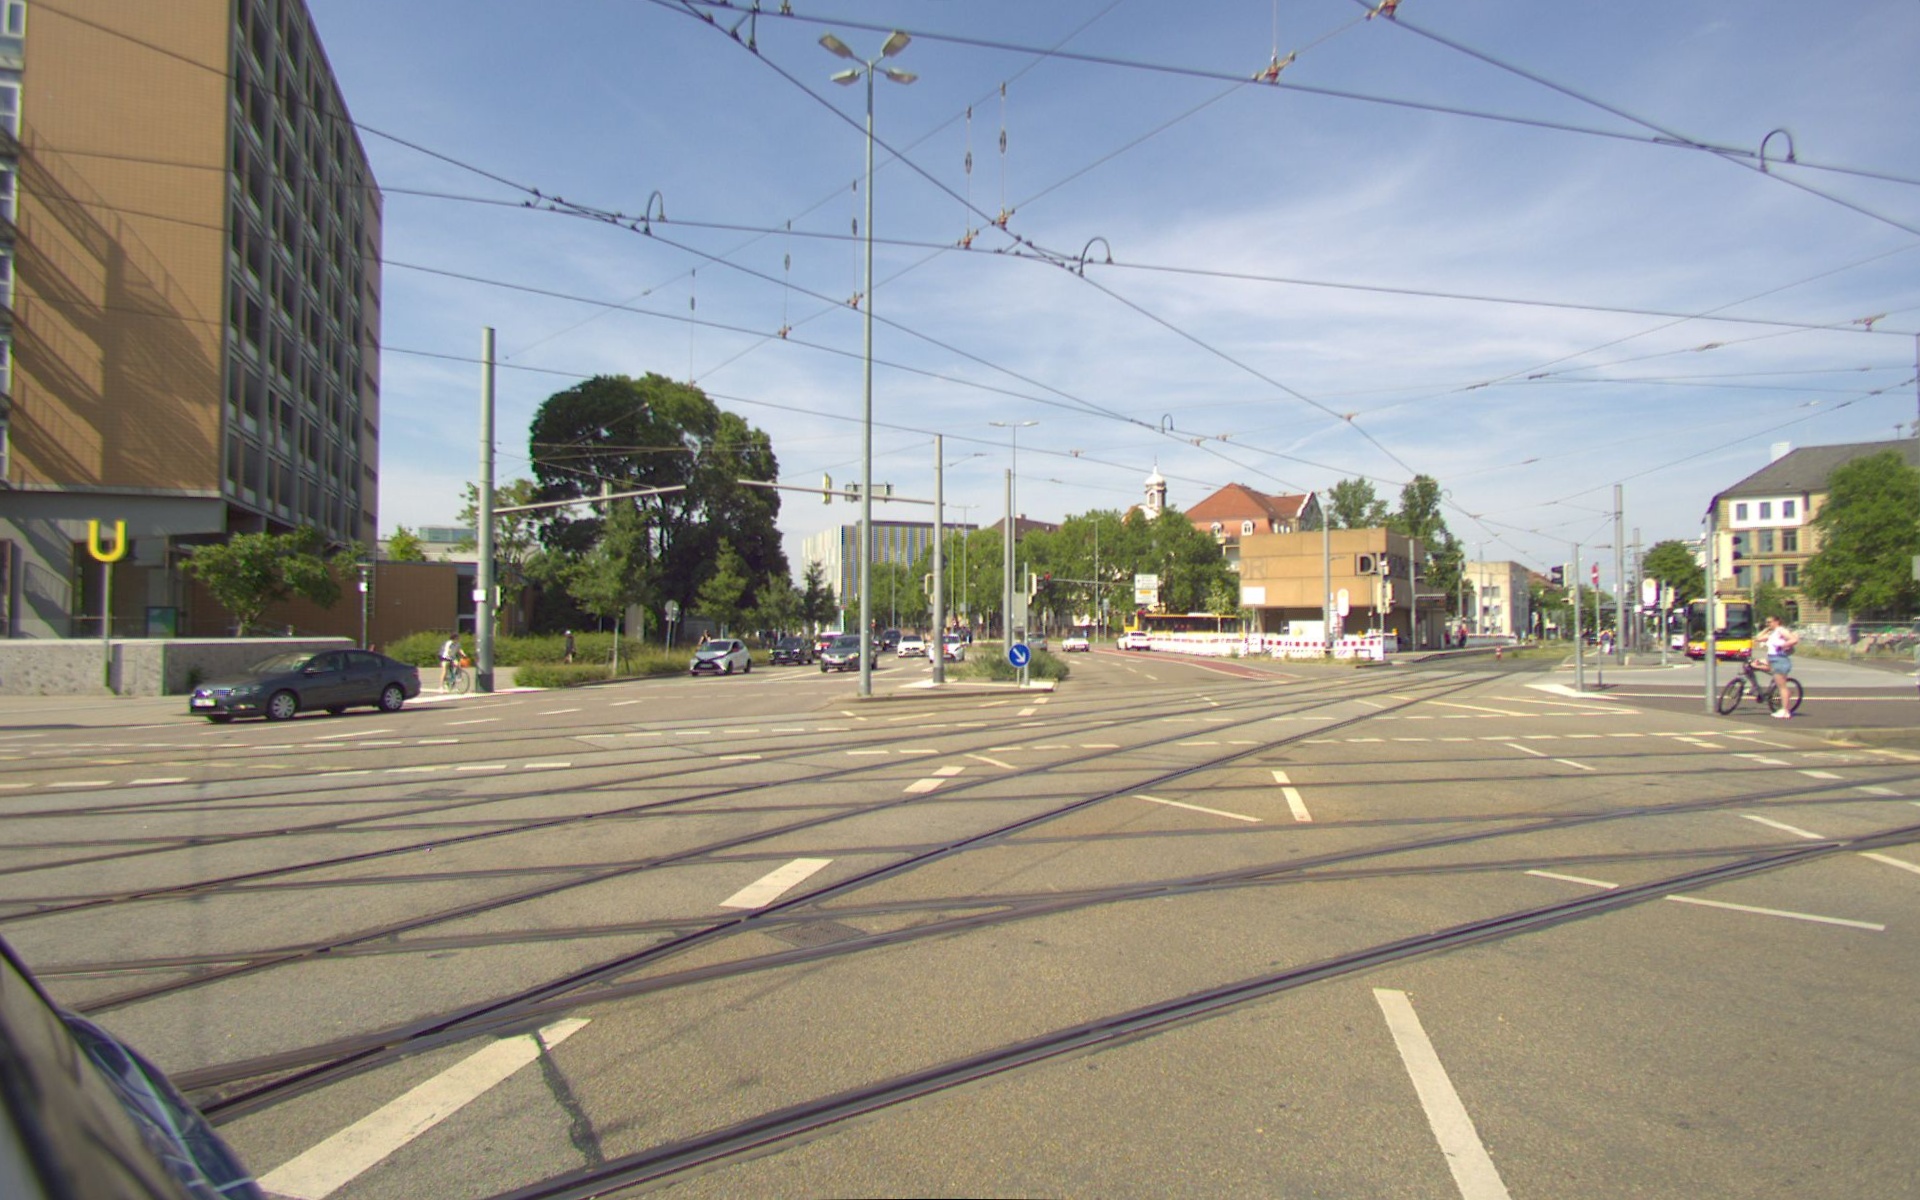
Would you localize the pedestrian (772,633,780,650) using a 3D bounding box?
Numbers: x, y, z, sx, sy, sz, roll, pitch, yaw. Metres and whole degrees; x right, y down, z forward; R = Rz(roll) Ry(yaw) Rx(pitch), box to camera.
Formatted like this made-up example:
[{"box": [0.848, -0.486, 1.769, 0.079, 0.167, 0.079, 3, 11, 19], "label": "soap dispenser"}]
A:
[{"box": [-15.467, 3.477, 85.017, 0.633, 1.458, 0.571, 1, -1, -13], "label": "pedestrian"}]

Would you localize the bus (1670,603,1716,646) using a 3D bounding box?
[{"box": [59.844, 2.043, 82.815, 2.752, 3.348, 11.647, -2, -2, 35], "label": "bus"}]

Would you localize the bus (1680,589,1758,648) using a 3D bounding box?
[{"box": [39.706, 0.905, 53.226, 2.752, 2.703, 11.648, -4, -2, 35], "label": "bus"}]

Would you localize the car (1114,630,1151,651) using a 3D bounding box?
[{"box": [12.630, 2.966, 74.324, 1.777, 1.431, 4.003, -3, -2, -3], "label": "car"}]

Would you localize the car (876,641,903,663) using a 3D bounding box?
[{"box": [-6.041, 4.394, 86.430, 1.933, 1.807, 4.008, 0, -2, -10], "label": "car"}]

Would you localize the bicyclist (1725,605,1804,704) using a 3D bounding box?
[{"box": [14.183, 0.951, 17.866, 0.765, 1.697, 0.752, 1, -2, -2], "label": "bicyclist"}]

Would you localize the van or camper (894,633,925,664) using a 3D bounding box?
[{"box": [-3.327, 3.136, 66.092, 1.892, 1.902, 4.927, -1, -2, -4], "label": "van or camper"}]

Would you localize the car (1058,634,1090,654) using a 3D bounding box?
[{"box": [8.138, 3.139, 72.682, 1.576, 1.296, 4.003, -3, -2, -3], "label": "car"}]

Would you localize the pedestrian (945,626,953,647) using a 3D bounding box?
[{"box": [-0.870, 2.955, 82.652, 0.535, 1.686, 0.750, -1, -2, 8], "label": "pedestrian"}]

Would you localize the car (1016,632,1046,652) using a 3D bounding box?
[{"box": [5.109, 3.034, 73.488, 1.576, 1.296, 4.003, -3, -2, -3], "label": "car"}]

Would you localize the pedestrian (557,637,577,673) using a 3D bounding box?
[{"box": [-18.378, 2.569, 47.349, 0.586, 1.677, 0.730, 1, -1, 8], "label": "pedestrian"}]

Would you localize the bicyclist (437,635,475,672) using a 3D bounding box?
[{"box": [-14.853, 1.557, 29.818, 0.916, 1.036, 0.706, 0, -1, 42], "label": "bicyclist"}]

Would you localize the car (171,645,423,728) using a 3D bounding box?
[{"box": [-13.805, 1.746, 21.425, 1.622, 1.446, 4.504, -2, -2, 16], "label": "car"}]

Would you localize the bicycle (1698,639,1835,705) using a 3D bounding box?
[{"box": [14.198, 1.264, 17.846, 1.822, 1.092, 0.752, 1, -2, -2], "label": "bicycle"}]

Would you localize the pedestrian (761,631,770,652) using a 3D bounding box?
[{"box": [-16.297, 3.498, 84.806, 0.633, 1.777, 0.476, 1, -1, -13], "label": "pedestrian"}]

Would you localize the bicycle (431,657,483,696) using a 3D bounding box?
[{"box": [-14.814, 2.236, 29.762, 1.918, 1.023, 0.706, 0, -1, 42], "label": "bicycle"}]

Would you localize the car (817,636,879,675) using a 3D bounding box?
[{"box": [-4.598, 2.258, 42.105, 1.632, 1.435, 4.111, -3, -2, 7], "label": "car"}]

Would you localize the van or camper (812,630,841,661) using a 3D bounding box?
[{"box": [-8.838, 2.980, 66.987, 1.703, 1.902, 4.930, -2, -2, -8], "label": "van or camper"}]

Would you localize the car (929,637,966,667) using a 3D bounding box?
[{"box": [-0.605, 2.570, 50.840, 1.634, 1.425, 3.859, 0, -2, 3], "label": "car"}]

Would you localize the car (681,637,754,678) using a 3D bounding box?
[{"box": [-9.916, 2.329, 41.649, 1.663, 1.486, 3.752, -3, -2, 7], "label": "car"}]

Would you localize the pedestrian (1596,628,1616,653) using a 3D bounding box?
[{"box": [36.486, 2.273, 57.184, 0.533, 1.377, 0.910, -3, -2, 8], "label": "pedestrian"}]

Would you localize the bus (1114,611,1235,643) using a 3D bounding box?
[{"box": [21.455, 2.644, 101.175, 11.939, 3.062, 2.805, 0, -2, -18], "label": "bus"}]

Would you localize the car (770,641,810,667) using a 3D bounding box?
[{"box": [-9.121, 2.881, 54.577, 1.391, 1.305, 3.578, 1, -2, 2], "label": "car"}]
